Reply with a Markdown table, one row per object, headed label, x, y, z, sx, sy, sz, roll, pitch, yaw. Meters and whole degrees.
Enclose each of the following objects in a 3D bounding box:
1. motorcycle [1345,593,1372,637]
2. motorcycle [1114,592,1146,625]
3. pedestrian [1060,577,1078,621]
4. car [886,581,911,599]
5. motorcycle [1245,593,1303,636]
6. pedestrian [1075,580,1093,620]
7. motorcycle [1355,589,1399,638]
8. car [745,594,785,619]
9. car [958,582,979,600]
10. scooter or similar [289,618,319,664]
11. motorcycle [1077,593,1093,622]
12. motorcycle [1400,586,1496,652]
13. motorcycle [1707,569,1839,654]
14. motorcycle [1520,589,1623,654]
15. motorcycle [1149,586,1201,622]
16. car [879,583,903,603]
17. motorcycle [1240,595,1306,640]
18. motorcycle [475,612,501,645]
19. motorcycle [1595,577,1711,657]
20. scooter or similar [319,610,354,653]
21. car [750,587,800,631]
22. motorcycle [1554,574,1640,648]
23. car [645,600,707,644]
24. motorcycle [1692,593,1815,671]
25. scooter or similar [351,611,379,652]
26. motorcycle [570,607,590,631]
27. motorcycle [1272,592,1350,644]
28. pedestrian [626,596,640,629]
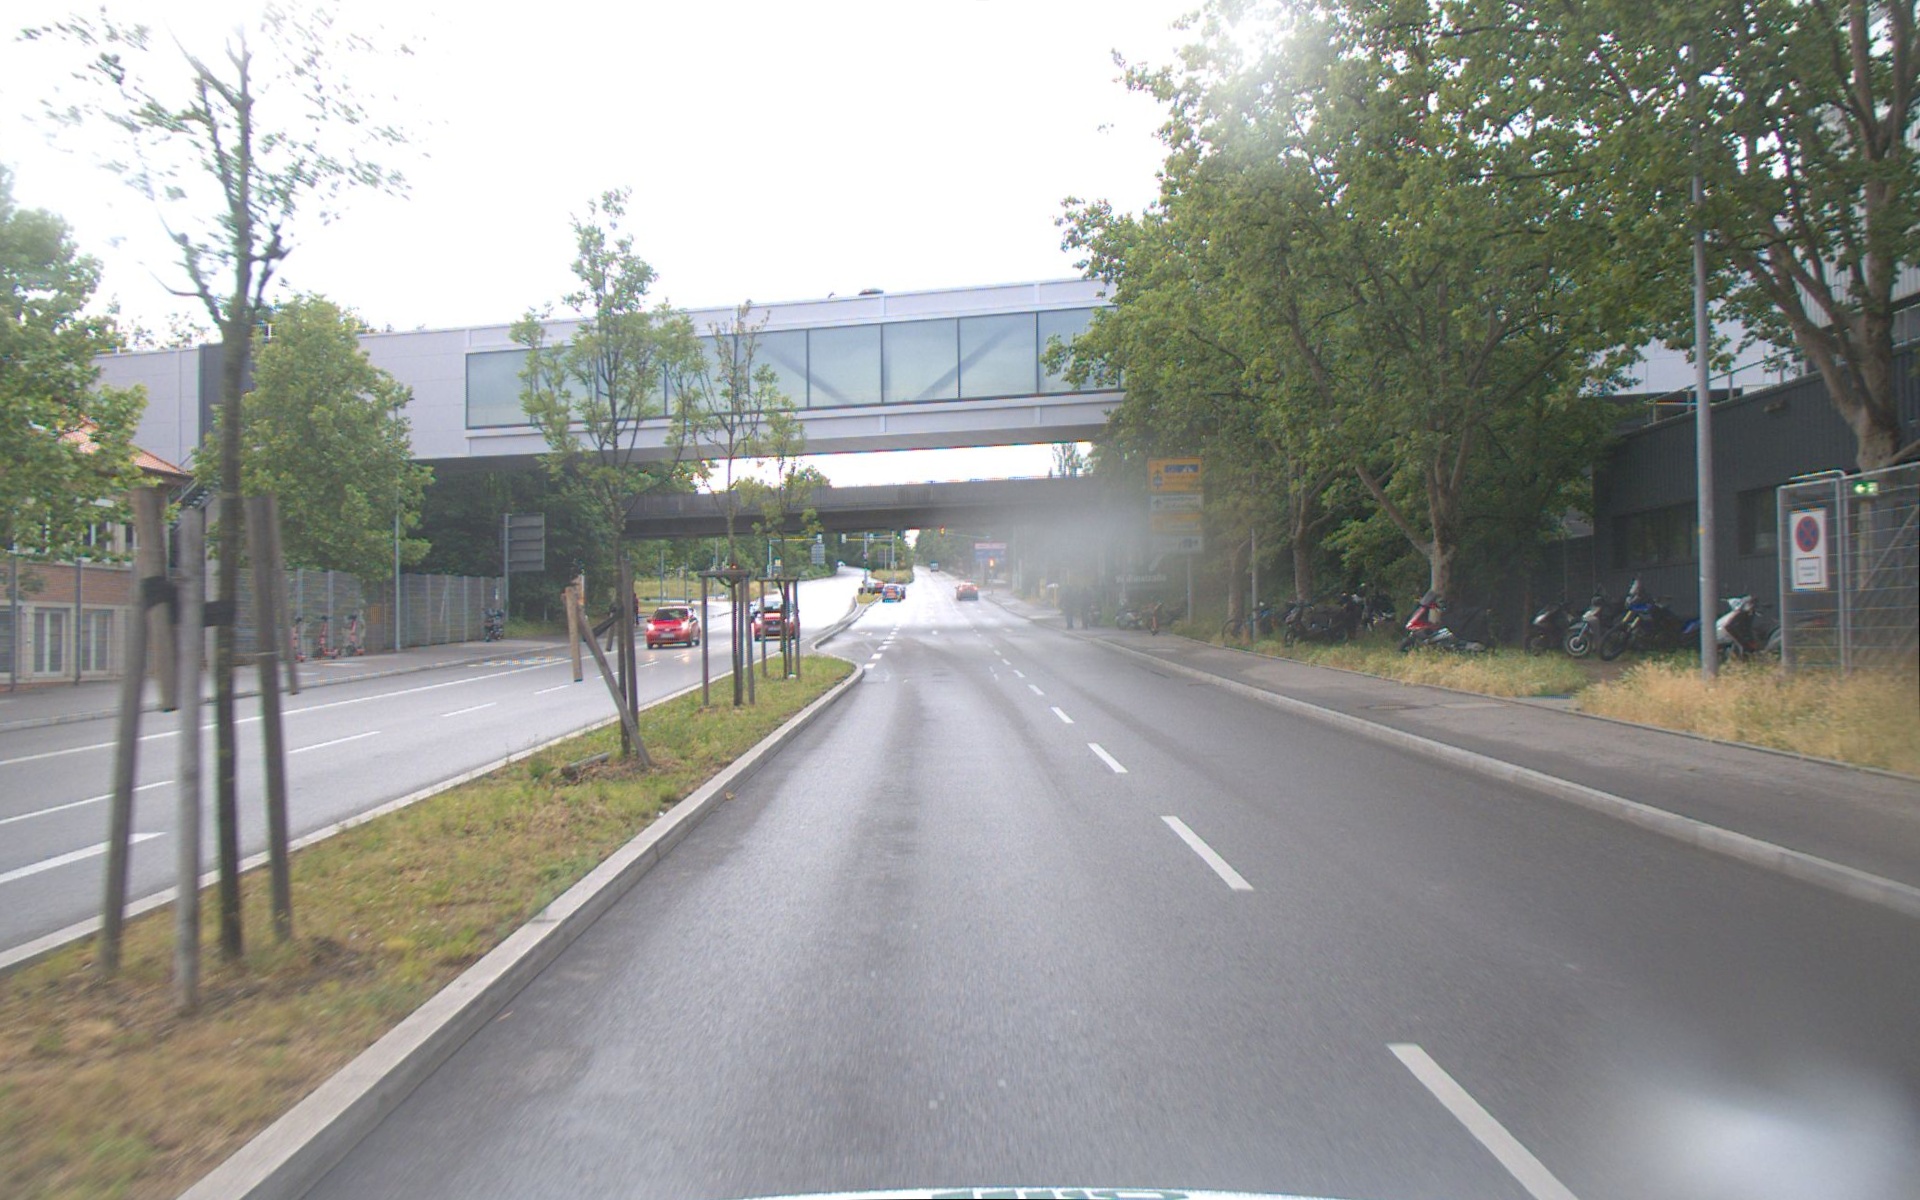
| label | x | y | z | sx | sy | sz | roll | pitch | yaw |
| --- | --- | --- | --- | --- | --- | --- | --- | --- | --- |
| motorcycle | 12.315 | 0.450 | 51.068 | 0.341 | 1.301 | 2.069 | -1 | 0 | 26 |
| motorcycle | 6.667 | 0.338 | 64.957 | 0.462 | 1.234 | 1.935 | -1 | 0 | -18 |
| pedestrian | 4.460 | -0.037 | 67.555 | 0.598 | 1.751 | 0.892 | -1 | 0 | 9 |
| car | -5.997 | -0.946 | 161.742 | 2.121 | 1.610 | 4.665 | 1 | -1 | 2 |
| motorcycle | 9.661 | 0.438 | 50.971 | 0.623 | 1.274 | 1.831 | -1 | 0 | -36 |
| pedestrian | 5.071 | -0.012 | 67.396 | 0.636 | 1.624 | 0.579 | -1 | 0 | 10 |
| motorcycle | 11.365 | 0.360 | 45.144 | 0.632 | 1.302 | 1.990 | -1 | 0 | -1 |
| car | -11.677 | 0.363 | 99.316 | 2.022 | 1.385 | 4.754 | -2 | 0 | -2 |
| car | 0.726 | -0.791 | 145.852 | 1.709 | 1.495 | 4.165 | 0 | 1 | -2 |
| scooter or similar | -18.387 | 1.128 | 46.349 | 0.305 | 1.239 | 1.307 | -1 | 0 | -1 |
| motorcycle | 5.124 | 0.300 | 67.864 | 0.460 | 1.156 | 1.818 | -1 | 0 | -1 |
| motorcycle | 8.899 | 0.336 | 30.183 | 1.618 | 1.170 | 0.493 | 1 | -1 | 7 |
| motorcycle | 11.599 | 0.162 | 23.659 | 0.469 | 1.165 | 1.885 | 1 | -1 | -21 |
| motorcycle | 12.353 | 0.432 | 33.429 | 1.874 | 1.279 | 0.491 | 1 | -1 | 5 |
| motorcycle | 8.206 | 0.165 | 63.115 | 1.904 | 1.320 | 0.546 | -2 | 0 | 34 |
| car | -6.149 | -0.602 | 147.297 | 2.035 | 1.748 | 4.195 | 1 | -1 | -3 |
| motorcycle | 9.315 | 0.523 | 49.255 | 1.819 | 1.274 | 0.627 | -1 | 0 | -17 |
| motorcycle | -18.695 | 1.113 | 65.521 | 0.459 | 1.226 | 1.996 | -1 | 1 | -1 |
| motorcycle | 12.335 | 0.310 | 29.436 | 1.891 | 1.389 | 0.505 | 1 | -1 | -6 |
| scooter or similar | -18.442 | 0.924 | 48.919 | 0.305 | 1.239 | 1.309 | -1 | 0 | 11 |
| car | -7.273 | 0.361 | 65.381 | 1.553 | 1.633 | 3.854 | -3 | 0 | -1 |
| motorcycle | 12.151 | 0.214 | 31.565 | 1.470 | 1.389 | 0.505 | 1 | -1 | -6 |
| car | -10.301 | 0.795 | 60.272 | 1.681 | 1.462 | 3.770 | -3 | 0 | -2 |
| motorcycle | 12.149 | 0.484 | 25.350 | 1.603 | 1.165 | 0.560 | 1 | -1 | 10 |
| scooter or similar | -18.455 | 0.977 | 51.318 | 0.305 | 1.239 | 1.308 | -1 | 0 | 4 |
| motorcycle | -19.217 | 0.947 | 83.606 | 0.459 | 1.179 | 1.933 | -1 | 1 | 2 |
| motorcycle | 8.522 | 0.437 | 40.155 | 1.819 | 1.212 | 0.519 | -1 | 0 | -17 |
| pedestrian | -18.111 | 0.683 | 91.534 | 0.508 | 1.847 | 0.800 | 0 | 0 | 9 |
